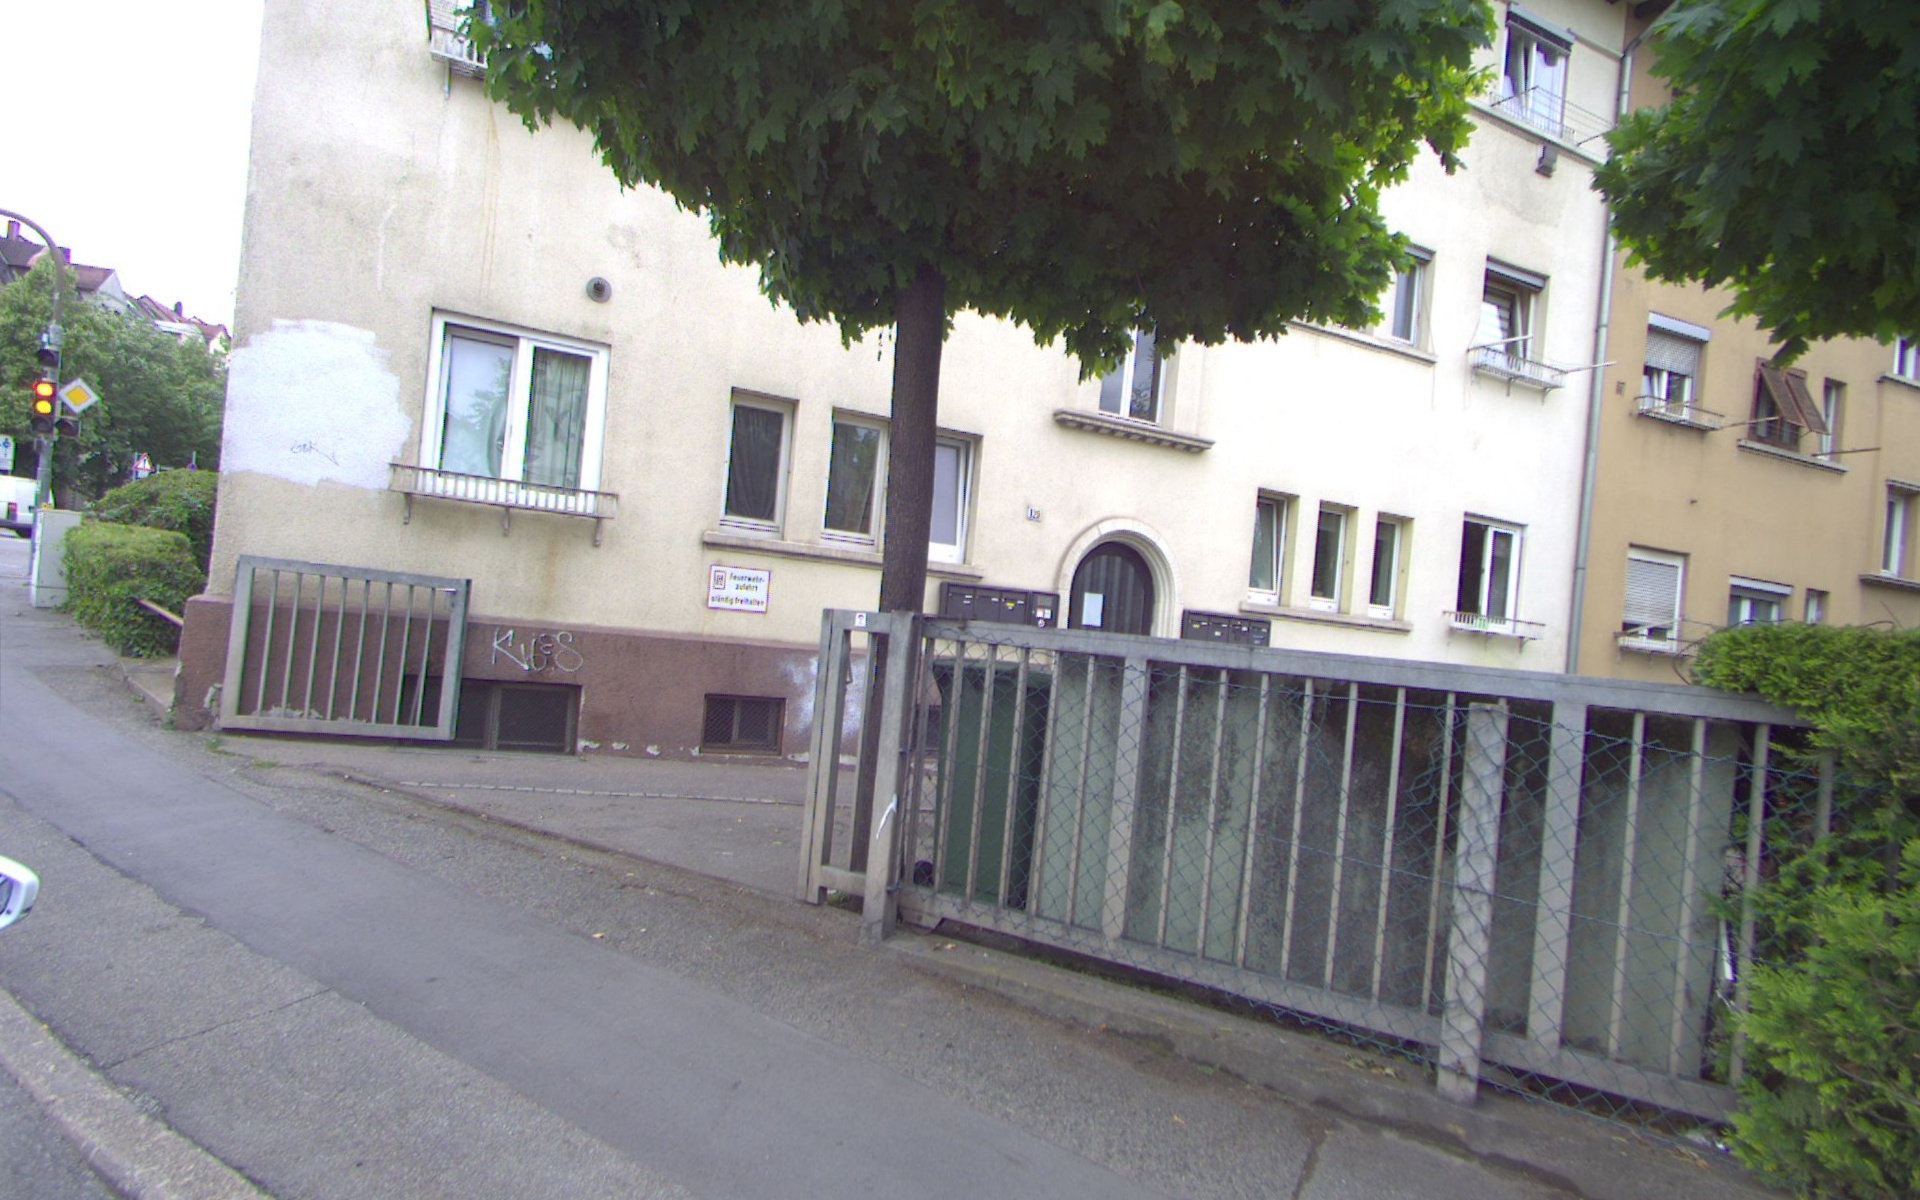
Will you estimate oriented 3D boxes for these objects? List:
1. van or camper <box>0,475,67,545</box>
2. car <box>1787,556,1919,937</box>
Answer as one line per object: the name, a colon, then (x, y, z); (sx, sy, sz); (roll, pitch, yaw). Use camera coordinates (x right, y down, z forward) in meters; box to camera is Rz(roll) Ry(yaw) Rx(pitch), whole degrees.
van or camper: (-32.975, -3.250, 33.230); (4.746, 2.037, 1.999); (8, -2, -5)
car: (5.544, 0.786, 3.783); (3.381, 1.477, 1.700); (6, -2, 30)
